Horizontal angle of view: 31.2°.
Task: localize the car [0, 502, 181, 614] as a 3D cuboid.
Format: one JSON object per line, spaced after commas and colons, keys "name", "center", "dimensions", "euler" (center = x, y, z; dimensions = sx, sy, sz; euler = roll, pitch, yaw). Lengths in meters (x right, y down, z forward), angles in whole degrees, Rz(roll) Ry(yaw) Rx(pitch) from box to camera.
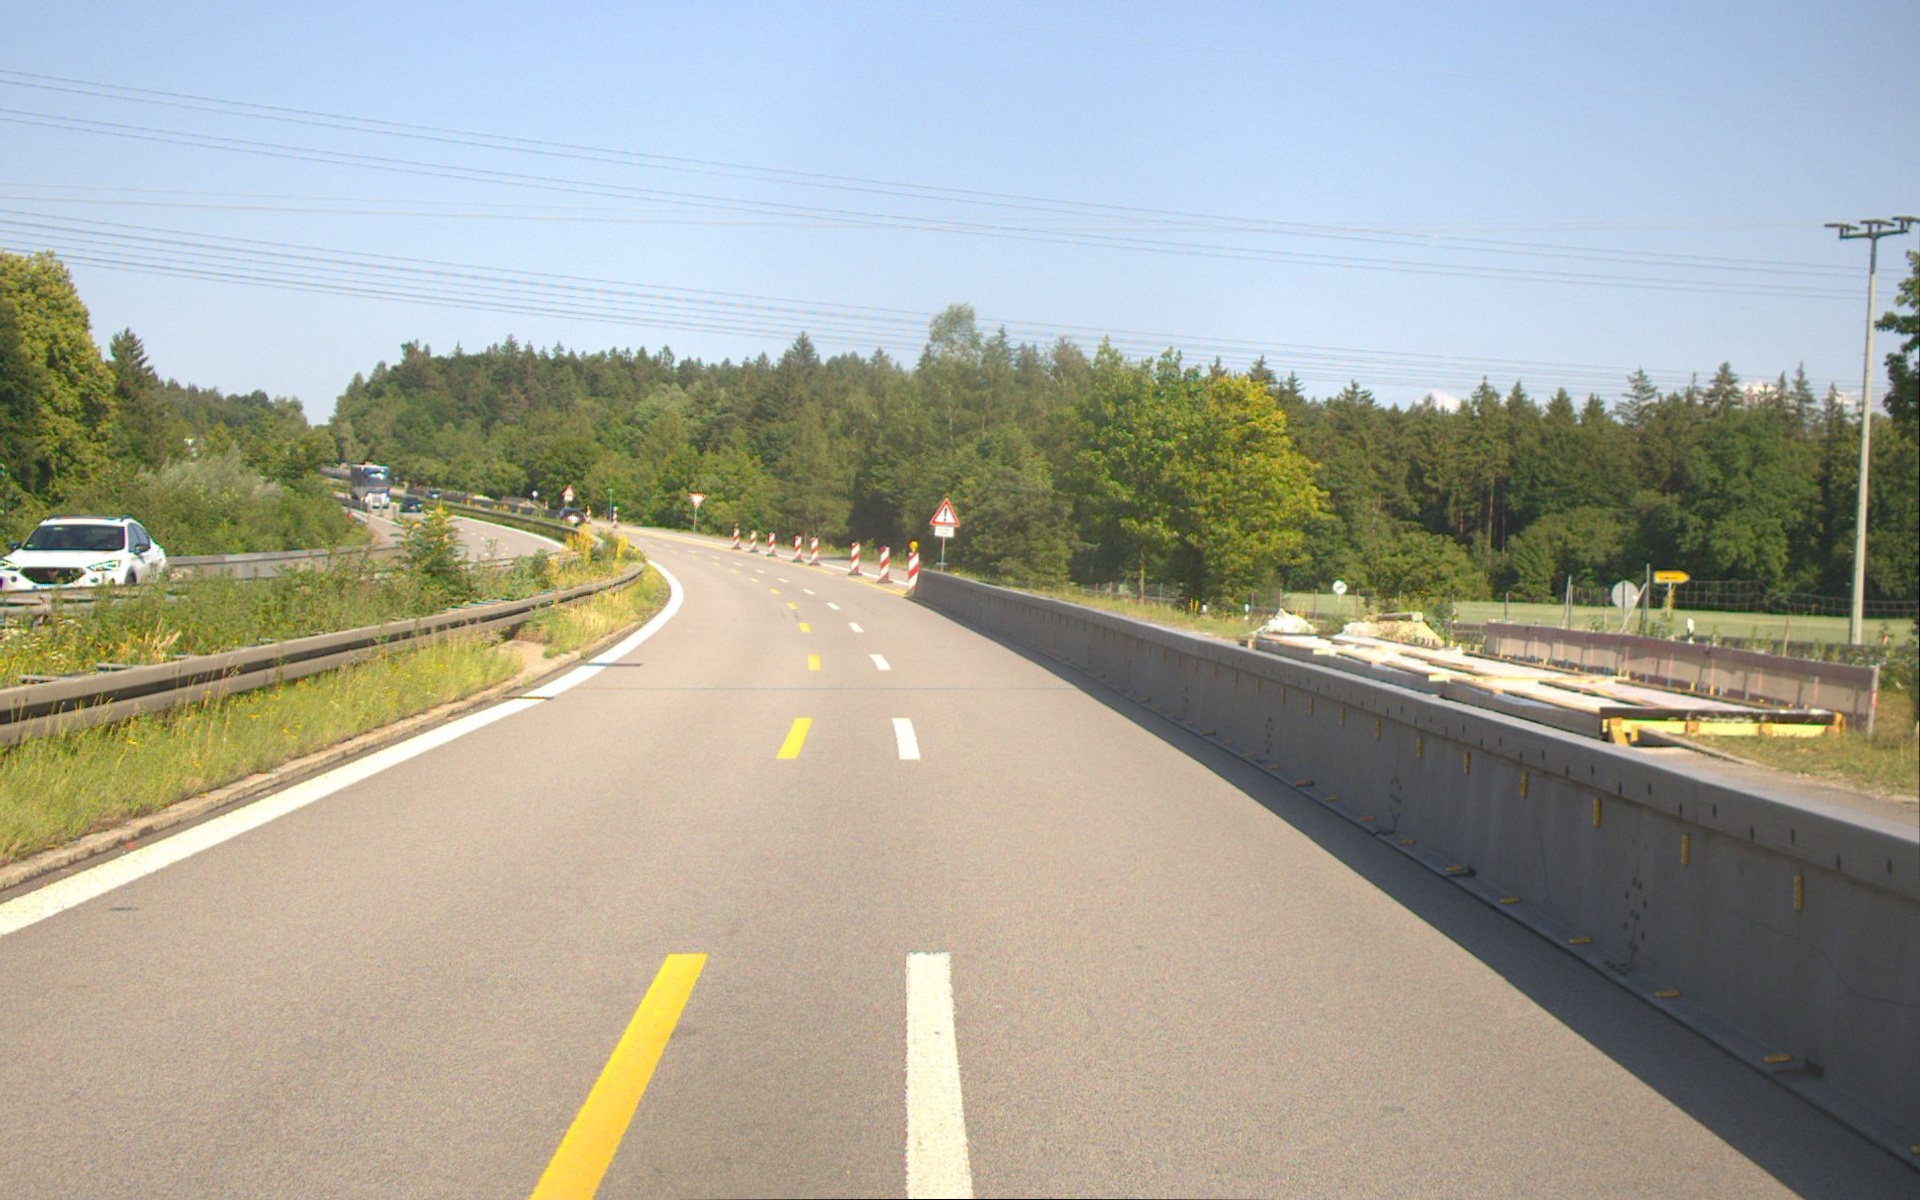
{"name": "car", "center": [-12.419, -0.589, 48.973], "dimensions": [1.759, 1.506, 4.535], "euler": [1, 0, -2]}
